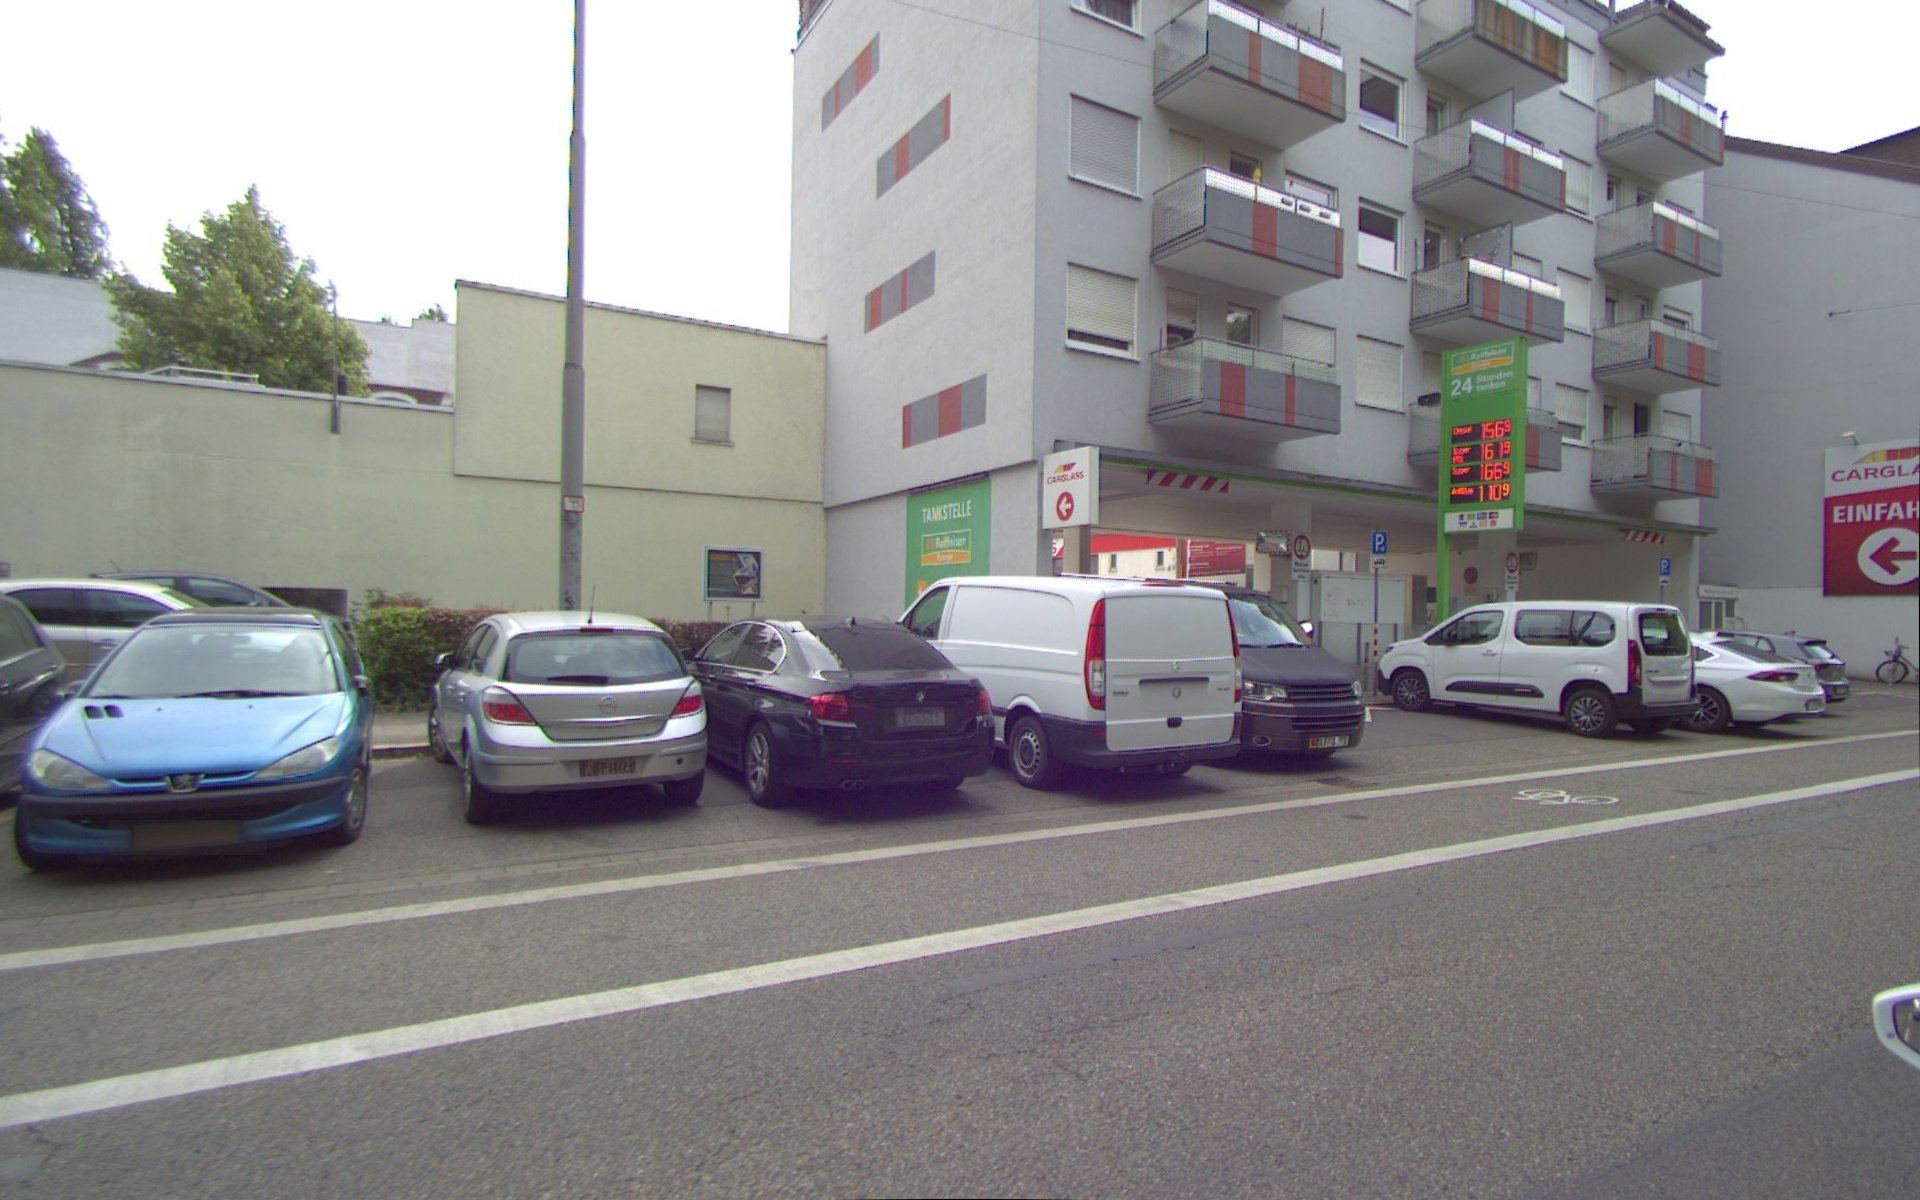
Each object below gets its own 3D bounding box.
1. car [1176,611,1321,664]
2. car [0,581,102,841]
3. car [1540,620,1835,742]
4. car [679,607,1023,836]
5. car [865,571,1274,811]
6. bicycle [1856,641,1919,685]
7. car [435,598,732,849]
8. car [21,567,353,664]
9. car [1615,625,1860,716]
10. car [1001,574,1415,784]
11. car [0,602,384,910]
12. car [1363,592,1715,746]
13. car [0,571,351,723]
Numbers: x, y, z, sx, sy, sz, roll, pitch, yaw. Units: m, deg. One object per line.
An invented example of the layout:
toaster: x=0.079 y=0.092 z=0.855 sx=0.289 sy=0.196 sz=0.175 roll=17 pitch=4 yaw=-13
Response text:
car: x=8.325 y=1.066 z=28.912 sx=3.953 sy=1.416 sz=1.771 roll=1 pitch=-1 yaw=-30
car: x=-6.845 y=0.701 z=6.013 sx=1.731 sy=1.591 sz=3.925 roll=1 pitch=1 yaw=-27
car: x=11.124 y=1.157 z=15.555 sx=1.578 sy=1.517 sz=3.325 roll=2 pitch=1 yaw=-31
car: x=-1.181 y=0.871 z=9.044 sx=1.733 sy=1.464 sz=3.664 roll=1 pitch=1 yaw=-30
car: x=0.840 y=0.697 z=10.521 sx=2.022 sy=1.904 sz=4.506 roll=1 pitch=1 yaw=-29
bicycle: x=24.611 y=1.638 z=26.070 sx=0.405 sy=1.048 sz=2.000 roll=0 pitch=1 yaw=-28
car: x=-3.346 y=0.804 z=8.480 sx=1.733 sy=1.505 sz=3.663 roll=1 pitch=1 yaw=-31
car: x=-11.992 y=0.186 z=15.906 sx=3.961 sy=1.350 sz=1.799 roll=-1 pitch=2 yaw=-36
car: x=14.572 y=1.259 z=18.989 sx=1.487 sy=1.421 sz=3.325 roll=2 pitch=1 yaw=-31
car: x=2.657 y=0.714 z=12.137 sx=1.977 sy=1.929 sz=4.892 roll=1 pitch=2 yaw=-30
car: x=-5.087 y=0.806 z=7.087 sx=1.733 sy=1.446 sz=3.663 roll=1 pitch=1 yaw=-31
car: x=8.588 y=0.899 z=15.328 sx=1.803 sy=1.895 sz=4.284 roll=1 pitch=1 yaw=-31
car: x=-9.408 y=0.473 z=11.413 sx=4.184 sy=1.539 sz=1.749 roll=1 pitch=1 yaw=-30
